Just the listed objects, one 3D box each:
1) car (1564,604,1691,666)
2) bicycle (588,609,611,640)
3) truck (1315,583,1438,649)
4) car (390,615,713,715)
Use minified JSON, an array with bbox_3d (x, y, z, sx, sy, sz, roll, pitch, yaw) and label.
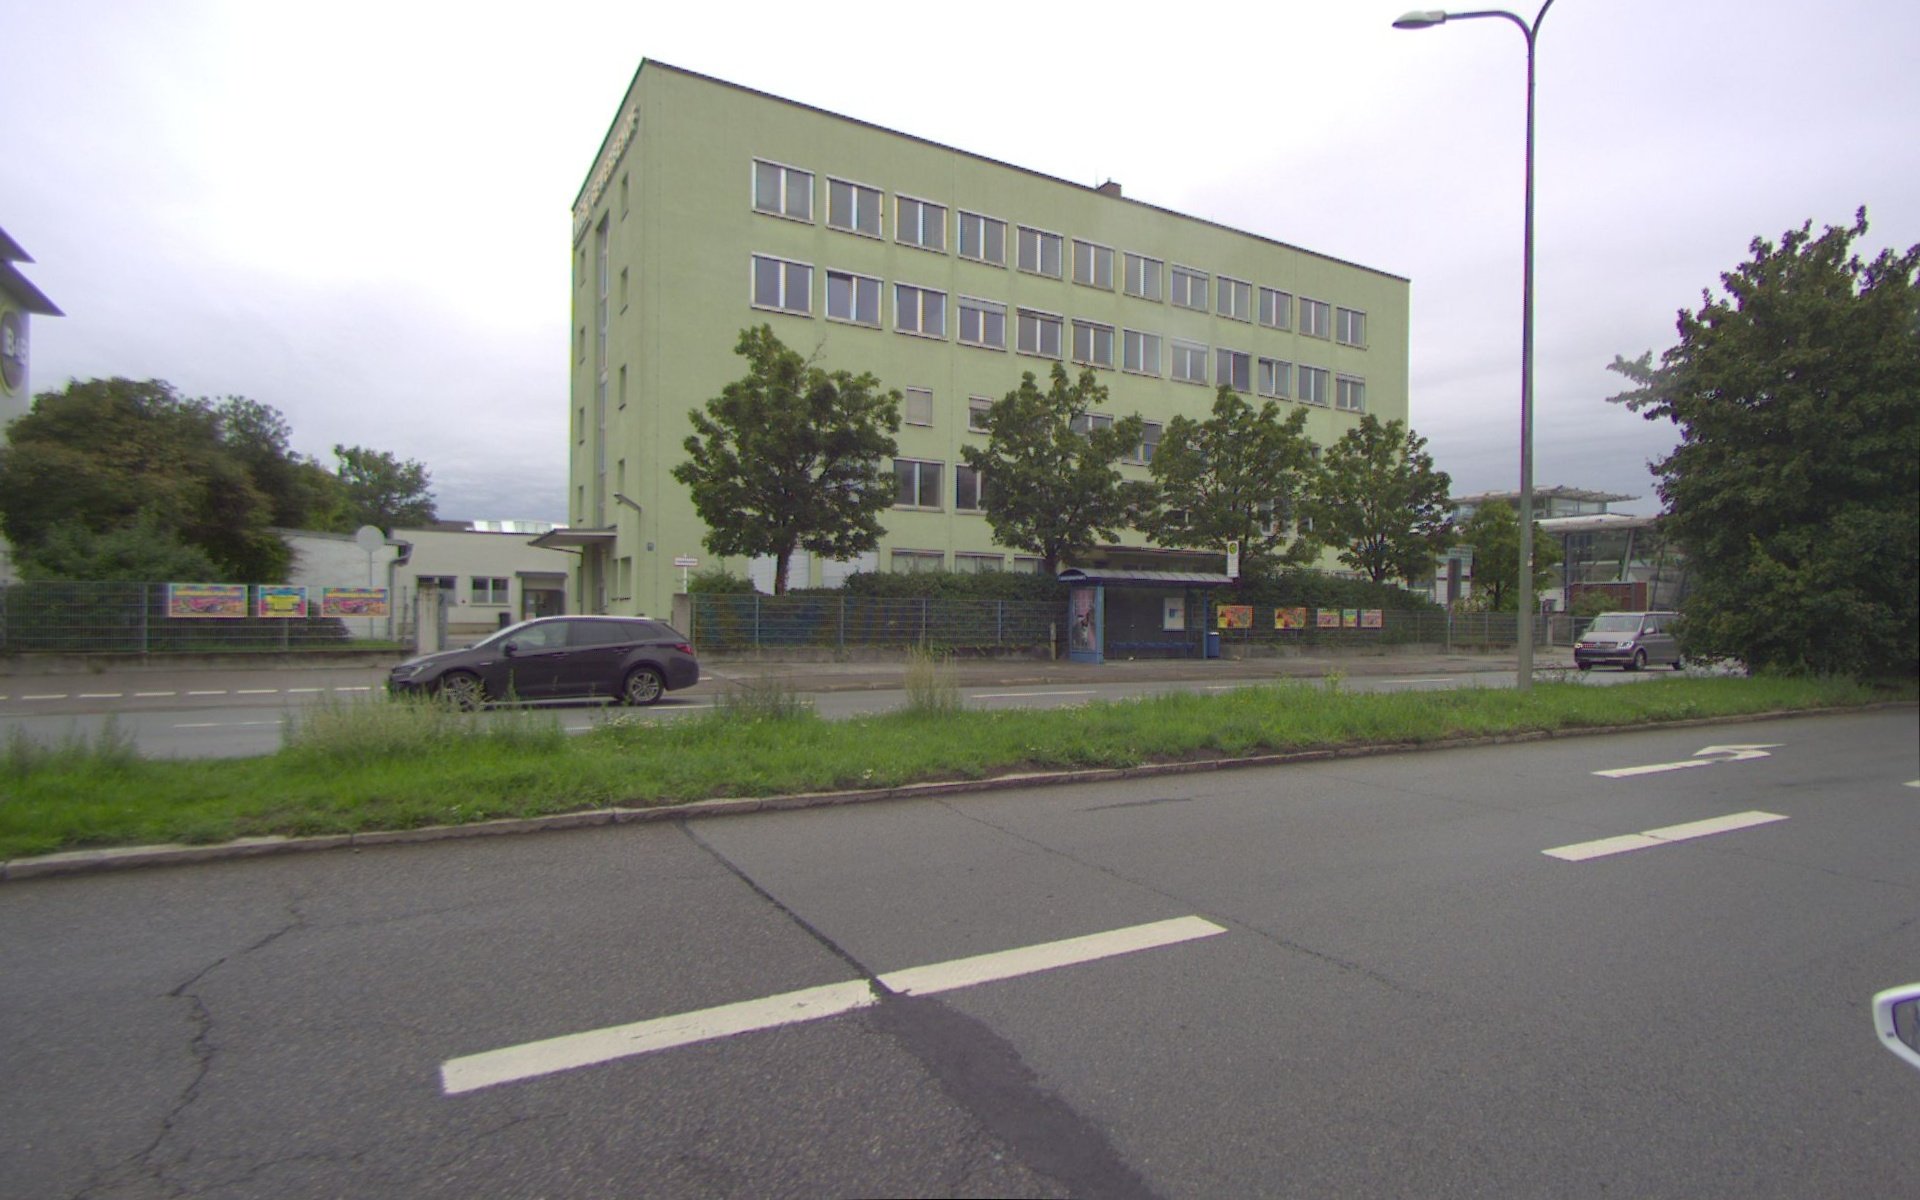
[{"bbox_3d":[22.597,1.166,33.966,4.276,1.986,1.983,1,-2,-32],"label":"car"},{"bbox_3d":[-13.149,0.904,36.648,0.444,1.131,2.103,1,-2,-29],"label":"bicycle"},{"bbox_3d":[18.288,0.723,44.038,5.232,2.784,1.988,1,-2,-25],"label":"truck"},{"bbox_3d":[-6.563,0.982,16.284,4.602,1.420,1.983,1,-2,-32],"label":"car"}]
